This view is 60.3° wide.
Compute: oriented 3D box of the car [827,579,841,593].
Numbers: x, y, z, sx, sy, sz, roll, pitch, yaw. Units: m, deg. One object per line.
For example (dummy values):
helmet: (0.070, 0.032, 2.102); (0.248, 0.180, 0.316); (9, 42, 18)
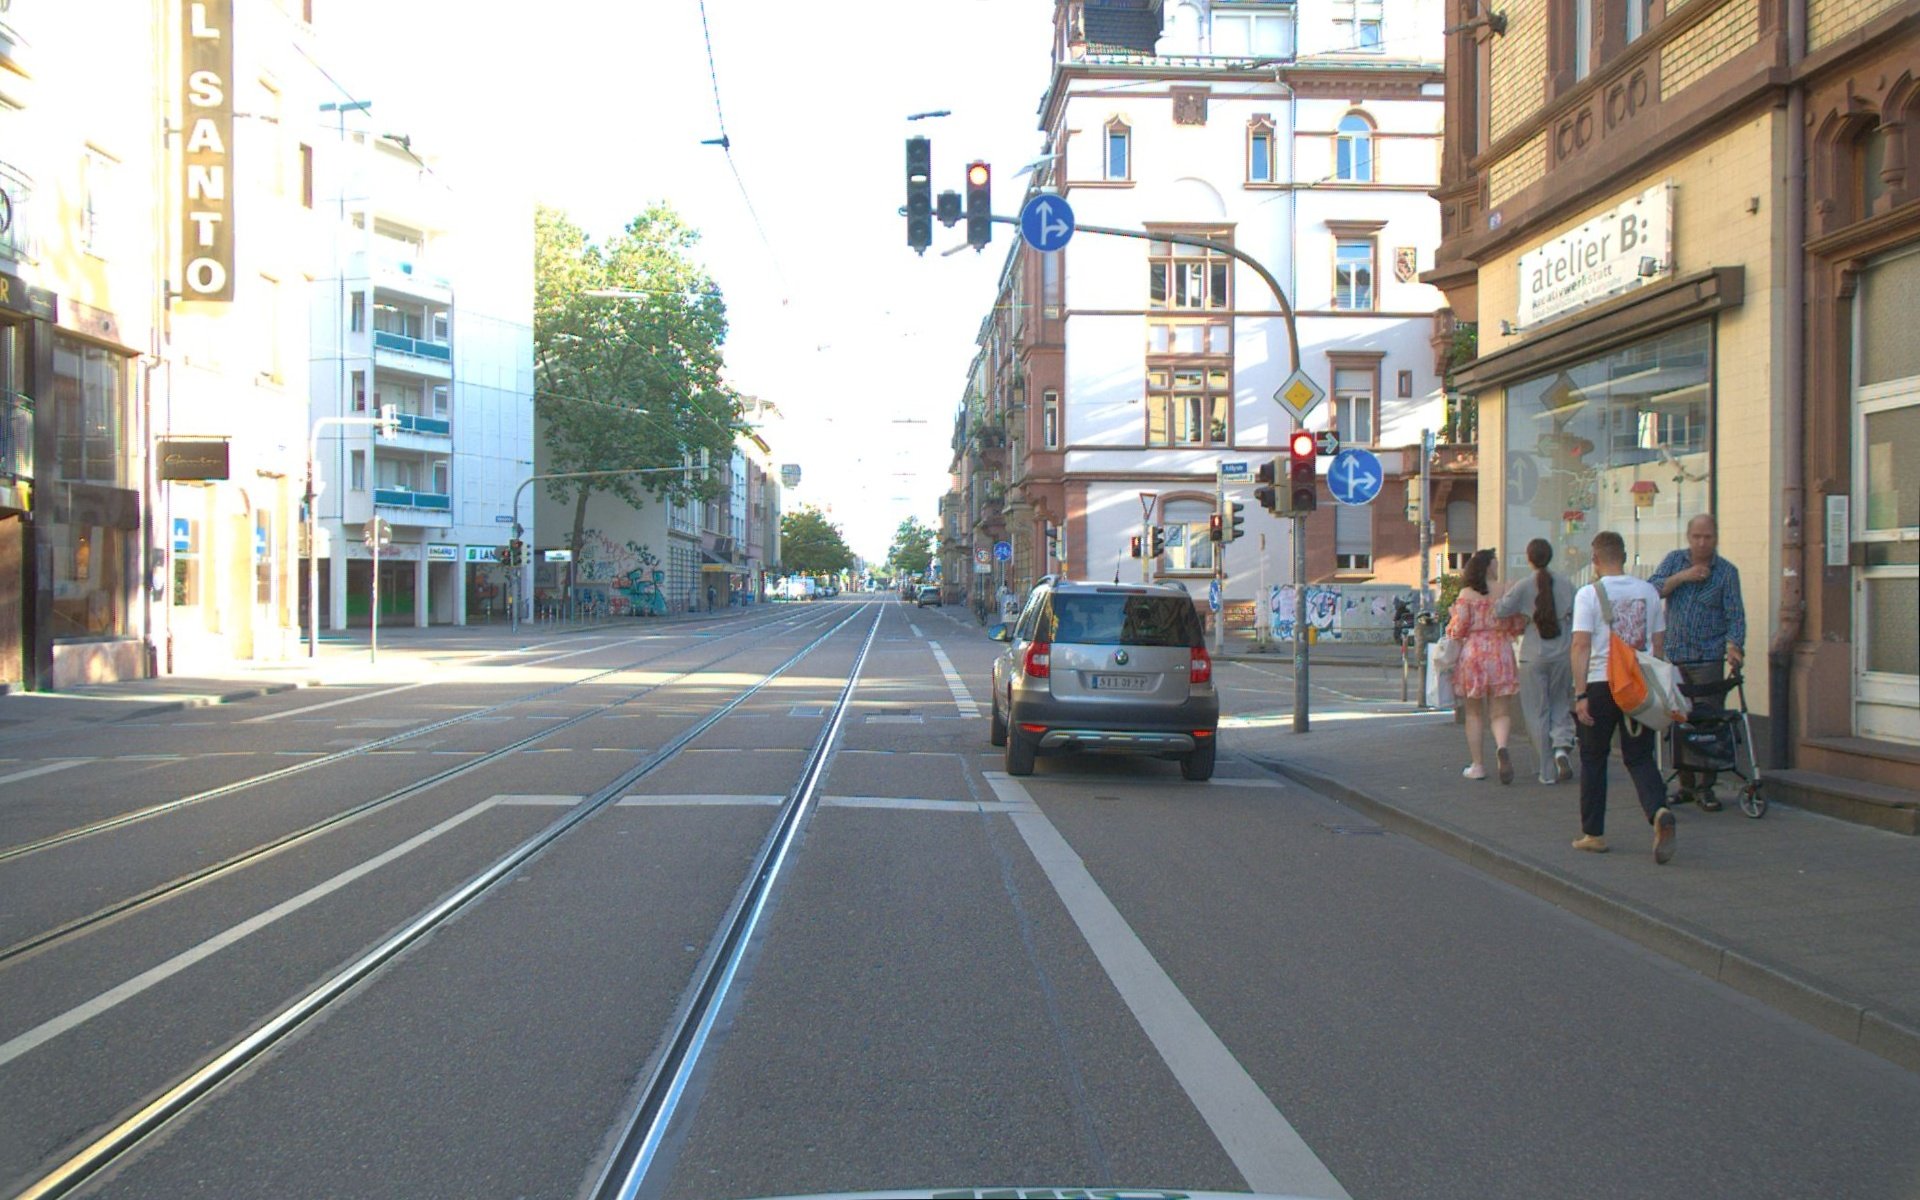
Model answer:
car: (-18.695, -2.134, 245.139); (1.954, 2.049, 3.998); (-1, 1, -3)

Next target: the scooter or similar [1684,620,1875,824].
scooter or similar: (4.840, 0.703, 9.791); (0.789, 1.088, 0.521); (-5, 1, -2)

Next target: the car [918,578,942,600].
car: (-2.445, -0.926, 133.954); (1.910, 1.713, 3.999); (-1, 1, -1)

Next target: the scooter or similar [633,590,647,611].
scooter or similar: (-16.357, 0.004, 84.503); (0.506, 1.064, 1.477); (-1, 1, -4)

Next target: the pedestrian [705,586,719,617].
pedestrian: (-14.102, 0.083, 93.923); (0.687, 1.758, 0.647); (-1, 0, -3)

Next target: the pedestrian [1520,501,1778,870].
pedestrian: (3.723, 0.426, 9.035); (0.790, 1.830, 1.091); (-5, 1, -4)

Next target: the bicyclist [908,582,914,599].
bicyclist: (-4.635, -0.880, 156.856); (0.563, 1.581, 0.595); (-1, 0, -1)

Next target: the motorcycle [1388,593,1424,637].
motorcycle: (12.082, 0.401, 44.829); (0.704, 1.037, 2.289); (-1, 3, 9)

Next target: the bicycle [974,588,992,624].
bicycle: (0.901, 0.228, 64.828); (0.640, 1.346, 2.177); (-1, 1, 0)

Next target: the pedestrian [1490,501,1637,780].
pedestrian: (4.421, 0.280, 12.143); (0.677, 1.941, 0.670); (-5, 1, -4)

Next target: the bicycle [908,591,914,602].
bicycle: (-4.626, -0.331, 156.865); (0.563, 1.048, 1.894); (-1, 1, -1)

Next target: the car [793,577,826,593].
car: (-19.914, -2.029, 219.036); (3.940, 2.049, 1.982); (-1, 1, -27)

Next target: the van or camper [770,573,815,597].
van or camper: (-18.592, -1.675, 183.214); (4.593, 2.608, 1.977); (0, 0, -34)

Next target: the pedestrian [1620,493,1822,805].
pedestrian: (4.788, 0.289, 10.447); (0.789, 1.830, 0.761); (-5, 1, -2)

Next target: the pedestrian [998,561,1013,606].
pedestrian: (1.857, -0.680, 67.430); (0.533, 1.811, 0.504); (-1, 0, -2)

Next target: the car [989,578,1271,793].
car: (1.393, 0.659, 15.154); (1.954, 1.646, 3.998); (2, 1, -3)

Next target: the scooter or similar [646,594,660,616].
scooter or similar: (-15.692, 0.252, 84.570); (0.506, 1.075, 1.477); (-1, 1, -4)

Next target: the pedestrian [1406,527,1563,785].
pedestrian: (3.960, 0.401, 12.529); (0.790, 1.830, 0.761); (-5, 1, -4)
